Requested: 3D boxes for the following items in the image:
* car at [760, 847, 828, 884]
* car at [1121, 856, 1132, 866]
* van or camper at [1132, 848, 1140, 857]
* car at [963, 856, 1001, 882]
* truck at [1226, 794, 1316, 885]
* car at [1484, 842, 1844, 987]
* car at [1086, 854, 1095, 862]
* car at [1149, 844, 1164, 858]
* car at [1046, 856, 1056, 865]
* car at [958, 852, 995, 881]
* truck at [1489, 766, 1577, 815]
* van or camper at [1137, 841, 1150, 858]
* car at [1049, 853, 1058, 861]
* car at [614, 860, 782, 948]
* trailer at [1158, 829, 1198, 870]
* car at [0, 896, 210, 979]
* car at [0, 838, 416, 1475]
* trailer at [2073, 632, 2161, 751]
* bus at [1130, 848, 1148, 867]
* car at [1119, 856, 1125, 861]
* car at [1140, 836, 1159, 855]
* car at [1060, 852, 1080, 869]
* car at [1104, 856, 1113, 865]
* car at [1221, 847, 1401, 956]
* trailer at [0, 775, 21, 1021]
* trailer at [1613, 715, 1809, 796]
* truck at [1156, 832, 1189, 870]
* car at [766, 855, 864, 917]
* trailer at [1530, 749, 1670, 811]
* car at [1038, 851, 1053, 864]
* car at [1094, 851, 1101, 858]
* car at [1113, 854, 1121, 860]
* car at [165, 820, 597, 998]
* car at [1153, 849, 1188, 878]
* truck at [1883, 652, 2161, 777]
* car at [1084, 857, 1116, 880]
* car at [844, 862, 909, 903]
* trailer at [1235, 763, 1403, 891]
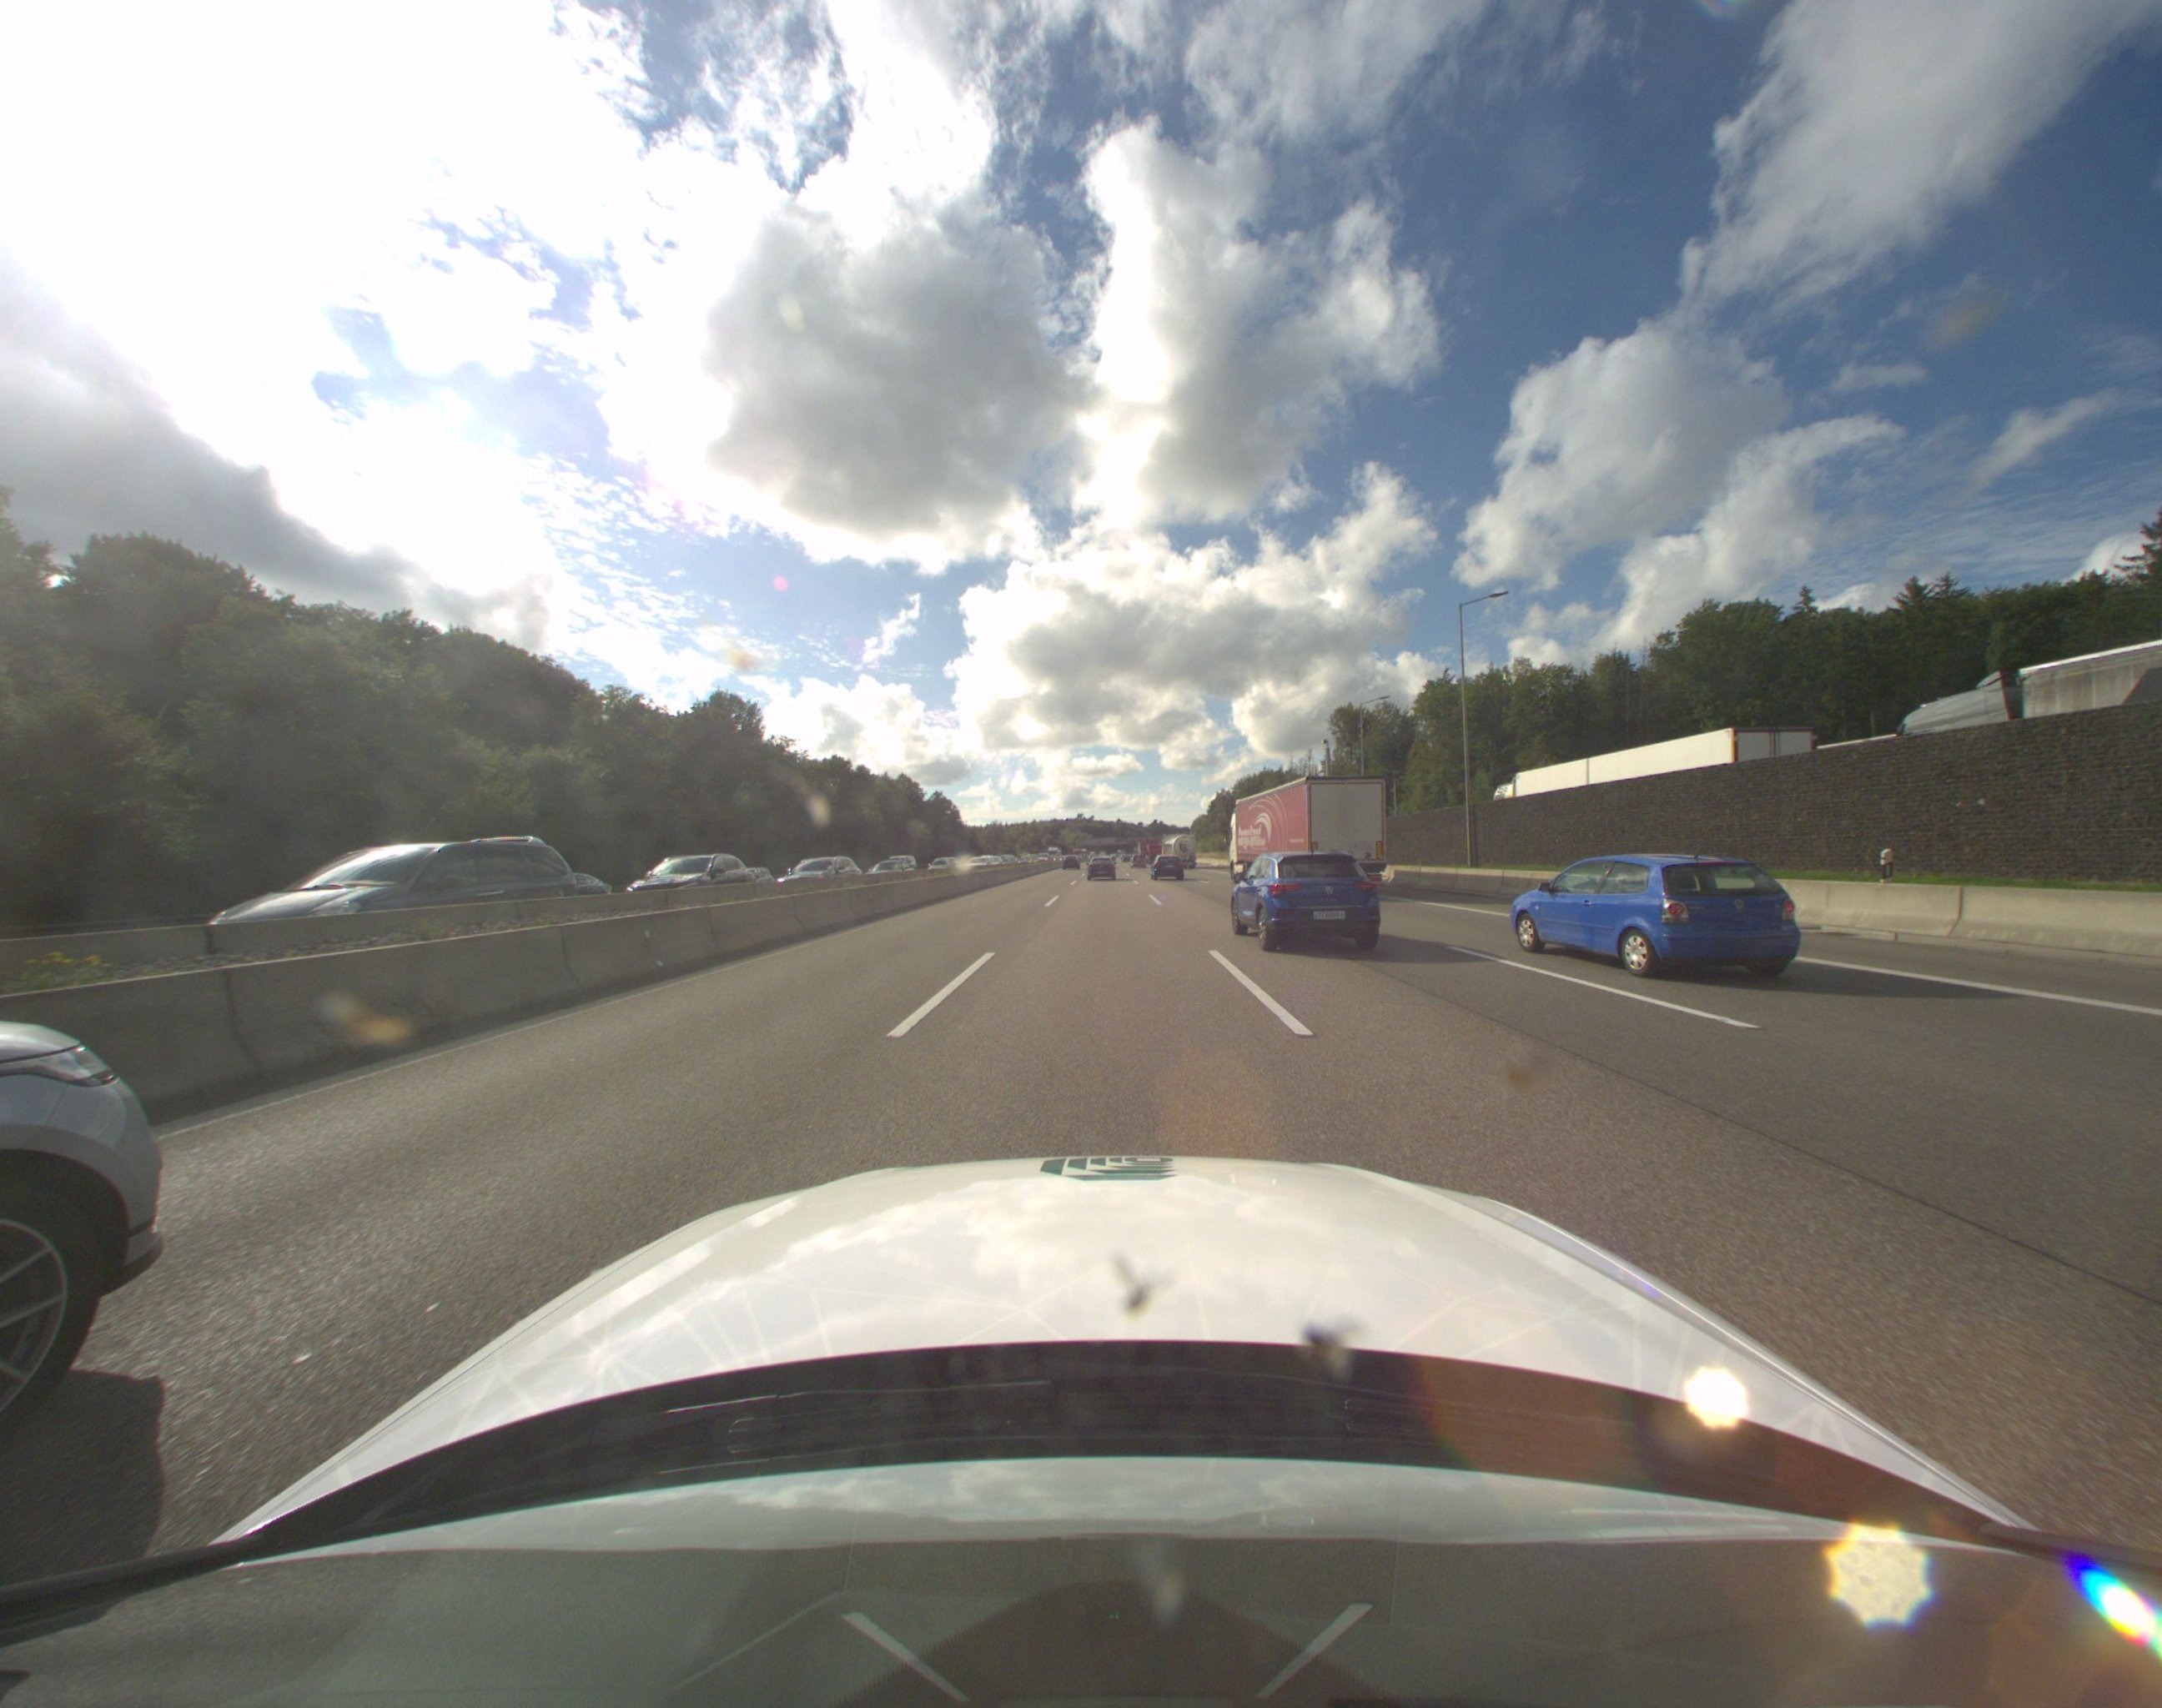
[{"bbox_3d":[-16.488,0.717,47.080,1.985,2.014,4.857,0,-2,3],"label":"car"},{"bbox_3d":[9.292,1.539,166.842,1.986,2.014,4.001,0,-1,1],"label":"car"},{"bbox_3d":[16.468,-0.441,243.202,2.076,2.493,4.226,-1,0,1],"label":"van or camper"},{"bbox_3d":[-7.287,1.158,60.145,1.949,1.864,4.554,0,-2,4],"label":"car"},{"bbox_3d":[9.056,-0.571,39.498,3.069,4.064,6.071,0,-2,1],"label":"truck"},{"bbox_3d":[7.280,0.634,10.830,1.709,1.511,4.302,-1,0,0],"label":"car"},{"bbox_3d":[2.228,0.905,195.027,2.146,1.776,4.002,0,-1,2],"label":"car"},{"bbox_3d":[11.540,-0.452,124.334,1.986,2.014,4.001,0,-2,1],"label":"car"},{"bbox_3d":[-7.081,1.672,195.048,1.985,2.014,4.002,0,-2,3],"label":"car"},{"bbox_3d":[-7.486,0.913,58.602,1.985,2.014,4.002,0,-2,3],"label":"car"},{"bbox_3d":[22.149,-3.079,40.085,2.138,2.013,4.001,-2,0,1],"label":"truck"},{"bbox_3d":[12.277,-0.874,160.668,2.342,3.144,5.714,0,-2,3],"label":"van or camper"},{"bbox_3d":[-7.933,0.869,235.917,1.985,2.013,4.003,-1,0,3],"label":"car"},{"bbox_3d":[-9.648,1.216,21.019,1.985,2.014,4.550,0,-2,3],"label":"car"},{"bbox_3d":[10.364,-0.333,88.068,3.025,4.016,12.246,-1,-1,1],"label":"trailer"},{"bbox_3d":[-23.923,1.883,19.411,1.803,1.572,4.075,0,0,3],"label":"car"},{"bbox_3d":[-3.723,0.755,0.755,1.893,1.607,5.107,-1,-1,2],"label":"car"},{"bbox_3d":[21.126,-3.194,13.515,2.037,2.014,6.007,0,-2,2],"label":"trailer"},{"bbox_3d":[6.738,0.445,95.375,1.986,2.014,4.001,0,-2,2],"label":"bus"},{"bbox_3d":[13.101,1.510,260.108,1.986,1.618,4.001,-1,0,1],"label":"car"},{"bbox_3d":[11.269,-1.367,134.376,2.855,2.992,5.152,0,-2,3],"label":"car"},{"bbox_3d":[-1.209,0.698,90.552,1.986,1.776,4.002,-1,0,2],"label":"car"},{"bbox_3d":[6.485,1.646,194.367,1.986,2.014,4.001,-2,-2,1],"label":"car"},{"bbox_3d":[3.733,0.673,14.137,1.917,1.541,4.647,-1,0,2],"label":"car"},{"bbox_3d":[-13.435,0.477,5.121,2.271,2.786,8.541,0,0,1],"label":"trailer"},{"bbox_3d":[21.831,-3.320,28.718,2.122,2.013,6.323,-2,0,1],"label":"trailer"},{"bbox_3d":[10.483,-0.226,93.776,3.035,4.160,7.126,-1,-1,1],"label":"truck"},{"bbox_3d":[-9.311,1.123,28.860,1.985,2.014,4.002,0,-2,3],"label":"car"},{"bbox_3d":[21.993,-3.072,34.949,2.122,2.013,6.236,-2,0,1],"label":"trailer"},{"bbox_3d":[-5.618,0.616,129.299,1.985,1.864,4.554,0,-2,4],"label":"car"},{"bbox_3d":[4.560,0.121,223.687,1.987,2.014,3.998,0,0,-1],"label":"car"},{"bbox_3d":[9.532,0.851,216.304,1.986,1.618,4.001,-1,0,1],"label":"car"},{"bbox_3d":[-9.347,0.696,11.606,1.986,2.014,4.677,0,-2,1],"label":"car"},{"bbox_3d":[5.287,0.563,48.666,1.792,1.644,4.002,0,-1,2],"label":"car"},{"bbox_3d":[21.275,-3.029,18.530,2.037,2.014,4.096,0,-2,1],"label":"truck"},{"bbox_3d":[1.118,0.887,50.125,1.730,1.365,3.995,0,-1,-3],"label":"car"},{"bbox_3d":[-9.464,1.337,37.976,1.811,1.794,4.002,0,-2,3],"label":"car"},{"bbox_3d":[8.848,-0.638,32.734,3.027,4.036,13.892,0,-2,2],"label":"trailer"}]
